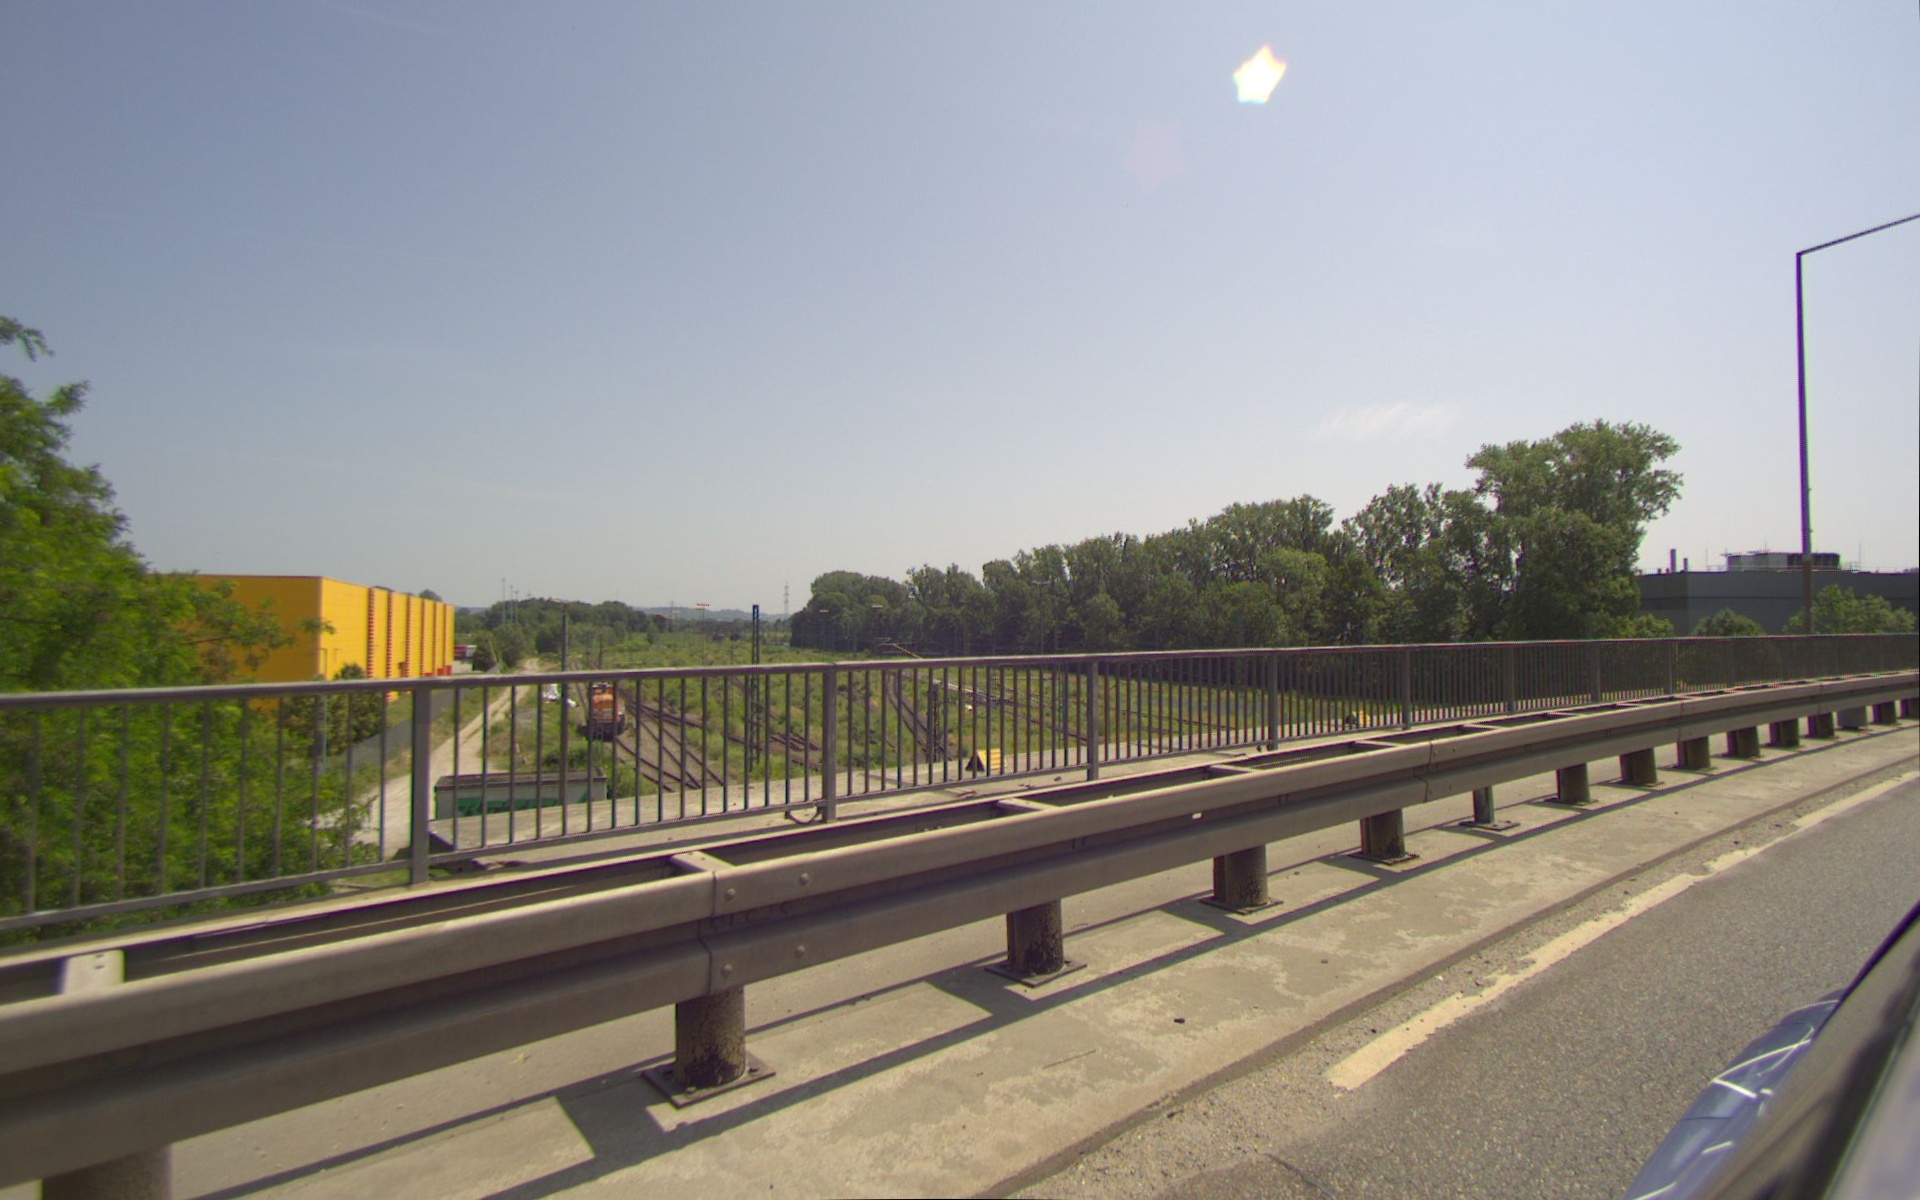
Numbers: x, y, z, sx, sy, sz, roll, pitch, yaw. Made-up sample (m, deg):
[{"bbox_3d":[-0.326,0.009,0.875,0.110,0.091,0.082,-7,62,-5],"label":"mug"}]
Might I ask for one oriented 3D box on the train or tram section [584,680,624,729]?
[{"bbox_3d":[-32.790,9.406,92.966,2.193,3.738,14.025,1,-3,-24],"label":"train or tram section"}]
